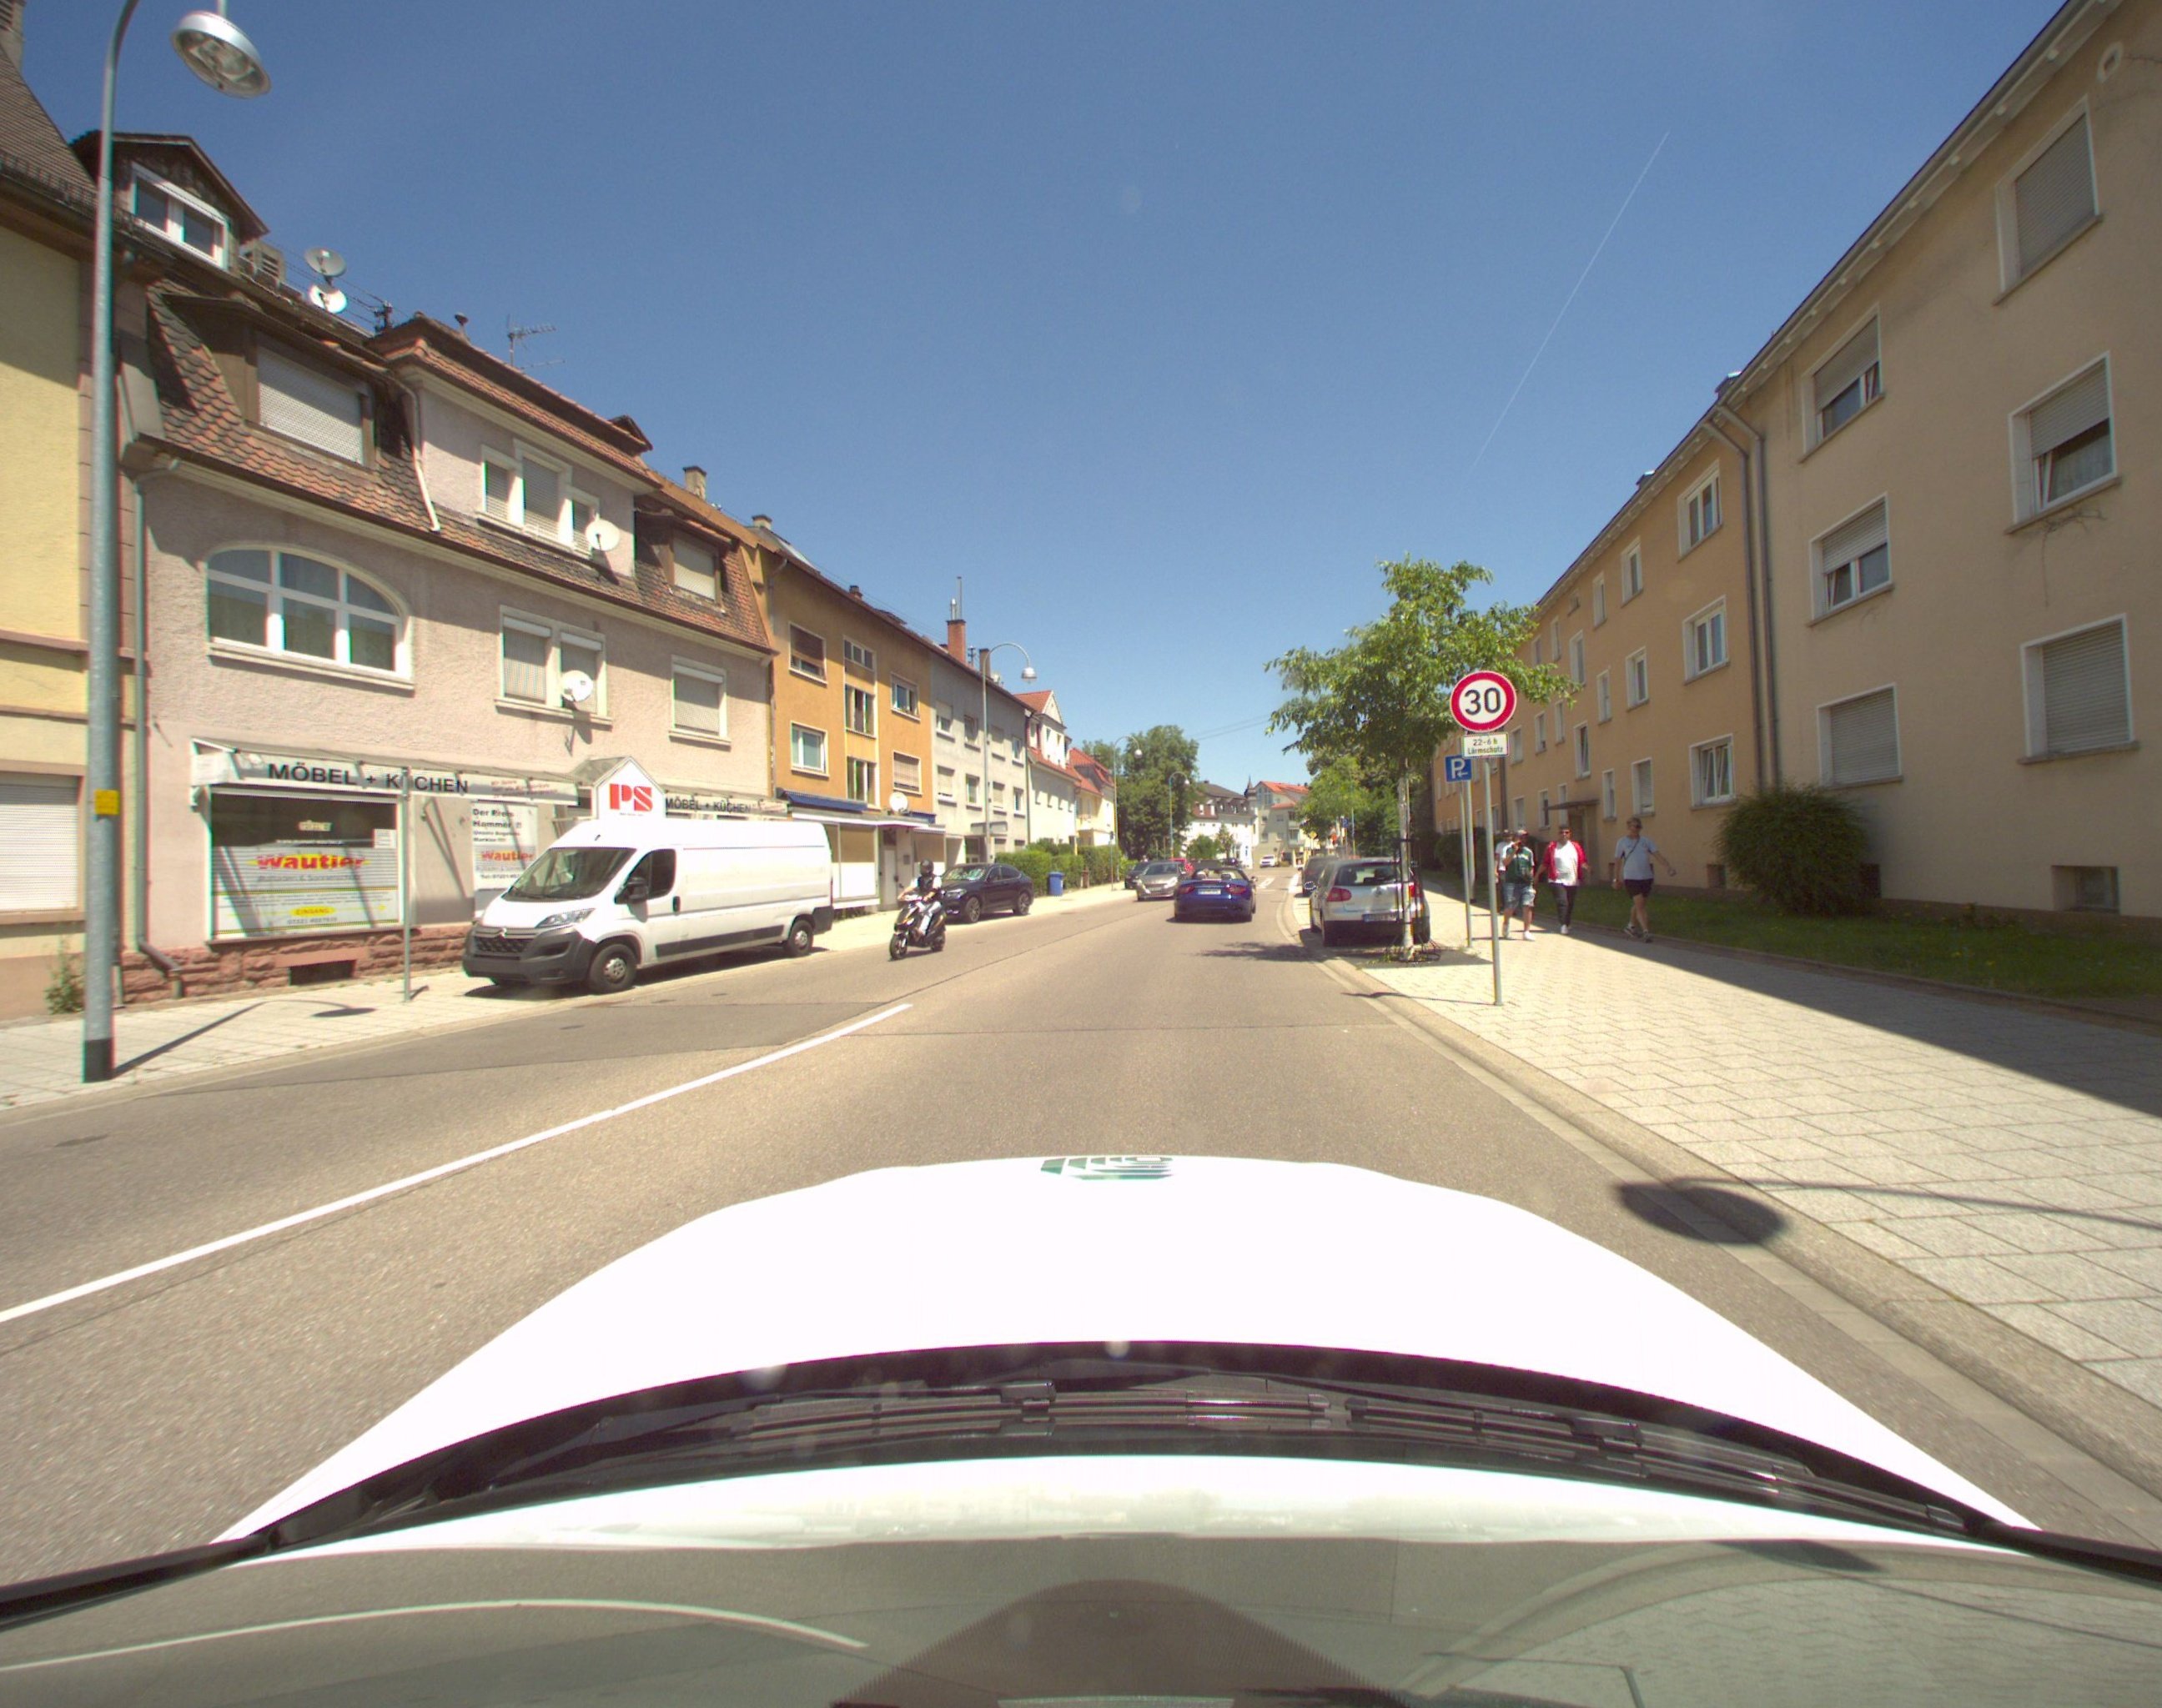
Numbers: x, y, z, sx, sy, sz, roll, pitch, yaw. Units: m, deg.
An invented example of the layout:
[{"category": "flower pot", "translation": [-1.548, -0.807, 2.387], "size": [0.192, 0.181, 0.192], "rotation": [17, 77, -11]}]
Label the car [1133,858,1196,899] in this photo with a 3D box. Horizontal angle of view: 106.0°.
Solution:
[{"category": "car", "translation": [3.392, 0.931, 32.495], "size": [1.718, 1.411, 4.017], "rotation": [-4, -1, 16]}]

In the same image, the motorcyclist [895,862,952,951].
[{"category": "motorcyclist", "translation": [-2.800, 0.917, 14.511], "size": [0.597, 1.525, 0.899], "rotation": [-2, -1, 17]}]

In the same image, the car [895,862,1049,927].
[{"category": "car", "translation": [-3.040, 1.094, 24.015], "size": [2.066, 1.614, 5.138], "rotation": [-1, 0, 24]}]

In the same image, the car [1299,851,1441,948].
[{"category": "car", "translation": [5.207, 0.777, 15.250], "size": [1.801, 1.477, 4.520], "rotation": [-3, -2, 11]}]

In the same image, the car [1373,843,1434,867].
[{"category": "car", "translation": [26.067, 0.102, 65.915], "size": [4.314, 1.839, 1.753], "rotation": [-1, -1, 7]}]

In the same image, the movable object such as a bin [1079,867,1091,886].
[{"category": "movable object such as a bin", "translation": [0.225, 1.254, 45.120], "size": [0.463, 0.990, 0.616], "rotation": [-3, -1, 15]}]

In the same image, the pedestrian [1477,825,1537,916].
[{"category": "pedestrian", "translation": [9.067, 0.352, 17.392], "size": [0.815, 1.853, 0.987], "rotation": [-3, -1, 11]}]

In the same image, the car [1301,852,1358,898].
[{"category": "car", "translation": [9.432, 0.737, 31.255], "size": [1.820, 1.504, 5.084], "rotation": [-4, -1, 15]}]

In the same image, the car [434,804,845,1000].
[{"category": "car", "translation": [-6.606, 0.606, 13.391], "size": [2.102, 2.449, 6.146], "rotation": [0, 0, 18]}]

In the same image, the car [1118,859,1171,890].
[{"category": "car", "translation": [3.426, 1.060, 43.375], "size": [1.773, 1.459, 4.218], "rotation": [1, 1, 19]}]

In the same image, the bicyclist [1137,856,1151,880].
[{"category": "bicyclist", "translation": [4.363, 0.965, 56.025], "size": [0.776, 1.659, 0.838], "rotation": [-2, -1, 13]}]

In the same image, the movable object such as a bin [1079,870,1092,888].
[{"category": "movable object such as a bin", "translation": [0.253, 1.344, 43.481], "size": [0.490, 0.912, 0.709], "rotation": [-3, -1, 15]}]

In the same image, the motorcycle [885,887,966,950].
[{"category": "motorcycle", "translation": [-2.757, 1.131, 14.652], "size": [0.601, 1.000, 1.807], "rotation": [-2, -1, 18]}]

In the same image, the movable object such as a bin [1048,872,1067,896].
[{"category": "movable object such as a bin", "translation": [-1.056, 1.332, 36.475], "size": [0.668, 1.048, 0.655], "rotation": [-3, -1, 14]}]

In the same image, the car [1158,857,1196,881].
[{"category": "car", "translation": [6.589, 0.994, 55.358], "size": [1.864, 1.479, 4.757], "rotation": [1, 0, 15]}]

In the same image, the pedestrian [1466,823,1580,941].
[{"category": "pedestrian", "translation": [7.086, 0.449, 13.142], "size": [1.164, 1.733, 1.195], "rotation": [-5, -2, 10]}]

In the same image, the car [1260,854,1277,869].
[{"category": "car", "translation": [22.994, 0.895, 99.935], "size": [1.864, 1.597, 4.376], "rotation": [-4, -1, 14]}]

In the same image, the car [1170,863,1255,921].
[{"category": "car", "translation": [3.564, 0.918, 21.369], "size": [1.858, 1.342, 4.612], "rotation": [-1, -1, 13]}]

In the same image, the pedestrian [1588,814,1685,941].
[{"category": "pedestrian", "translation": [8.184, 0.342, 12.049], "size": [0.788, 1.778, 1.012], "rotation": [-2, -1, 11]}]

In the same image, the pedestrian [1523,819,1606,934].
[{"category": "pedestrian", "translation": [8.119, 0.376, 13.721], "size": [0.782, 1.811, 1.009], "rotation": [-5, -1, 11]}]
